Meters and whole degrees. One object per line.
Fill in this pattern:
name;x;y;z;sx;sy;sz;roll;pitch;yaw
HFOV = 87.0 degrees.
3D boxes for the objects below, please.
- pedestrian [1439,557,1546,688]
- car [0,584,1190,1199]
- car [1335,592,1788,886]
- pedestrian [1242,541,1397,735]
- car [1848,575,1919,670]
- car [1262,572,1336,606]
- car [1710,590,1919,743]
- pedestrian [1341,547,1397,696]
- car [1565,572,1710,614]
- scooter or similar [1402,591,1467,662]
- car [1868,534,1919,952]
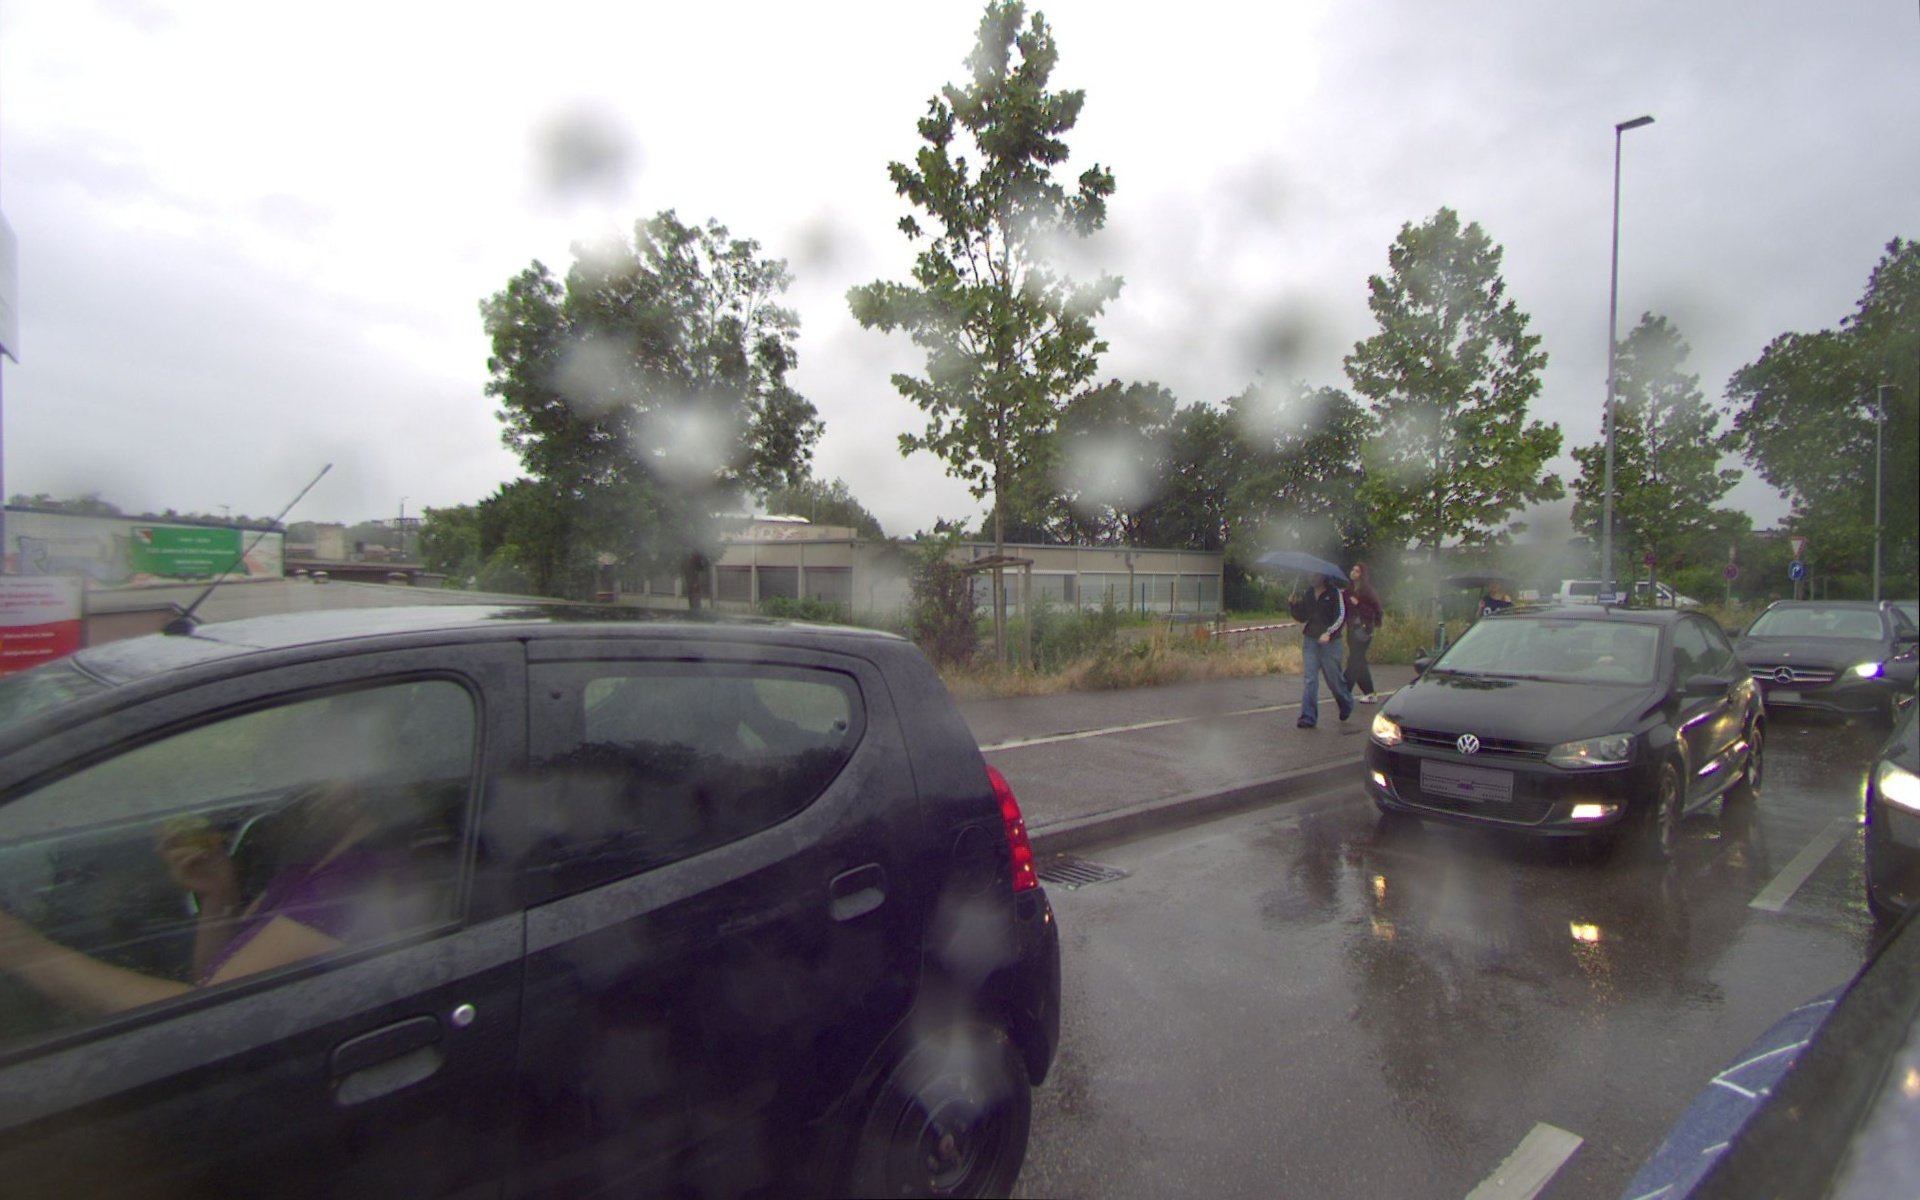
pedestrian;7.440;0.278;14.148;0.876;1.729;1.024;-1;4;-41
car;-1.260;0.700;2.058;3.561;1.447;1.631;0;0;-42
car;4.169;0.671;6.798;3.561;1.447;1.631;0;0;-42
pedestrian;3.528;0.315;9.952;0.953;1.777;1.081;-1;3;-41
car;16.758;0.319;17.457;4.052;1.488;1.701;-2;2;-42
car;21.339;-0.714;63.758;1.964;2.039;3.996;-1;1;-38
car;11.031;0.701;12.813;3.748;1.593;1.697;-2;1;-41
pedestrian;4.756;0.230;11.763;0.433;1.682;0.400;-1;3;-42
car;28.458;-0.302;42.606;1.966;1.670;4.752;-1;1;-42
scooter or similar;8.234;0.429;17.535;1.747;1.144;0.380;-1;3;-43
car;5.678;0.508;4.692;4.091;1.607;1.688;-2;1;-41
